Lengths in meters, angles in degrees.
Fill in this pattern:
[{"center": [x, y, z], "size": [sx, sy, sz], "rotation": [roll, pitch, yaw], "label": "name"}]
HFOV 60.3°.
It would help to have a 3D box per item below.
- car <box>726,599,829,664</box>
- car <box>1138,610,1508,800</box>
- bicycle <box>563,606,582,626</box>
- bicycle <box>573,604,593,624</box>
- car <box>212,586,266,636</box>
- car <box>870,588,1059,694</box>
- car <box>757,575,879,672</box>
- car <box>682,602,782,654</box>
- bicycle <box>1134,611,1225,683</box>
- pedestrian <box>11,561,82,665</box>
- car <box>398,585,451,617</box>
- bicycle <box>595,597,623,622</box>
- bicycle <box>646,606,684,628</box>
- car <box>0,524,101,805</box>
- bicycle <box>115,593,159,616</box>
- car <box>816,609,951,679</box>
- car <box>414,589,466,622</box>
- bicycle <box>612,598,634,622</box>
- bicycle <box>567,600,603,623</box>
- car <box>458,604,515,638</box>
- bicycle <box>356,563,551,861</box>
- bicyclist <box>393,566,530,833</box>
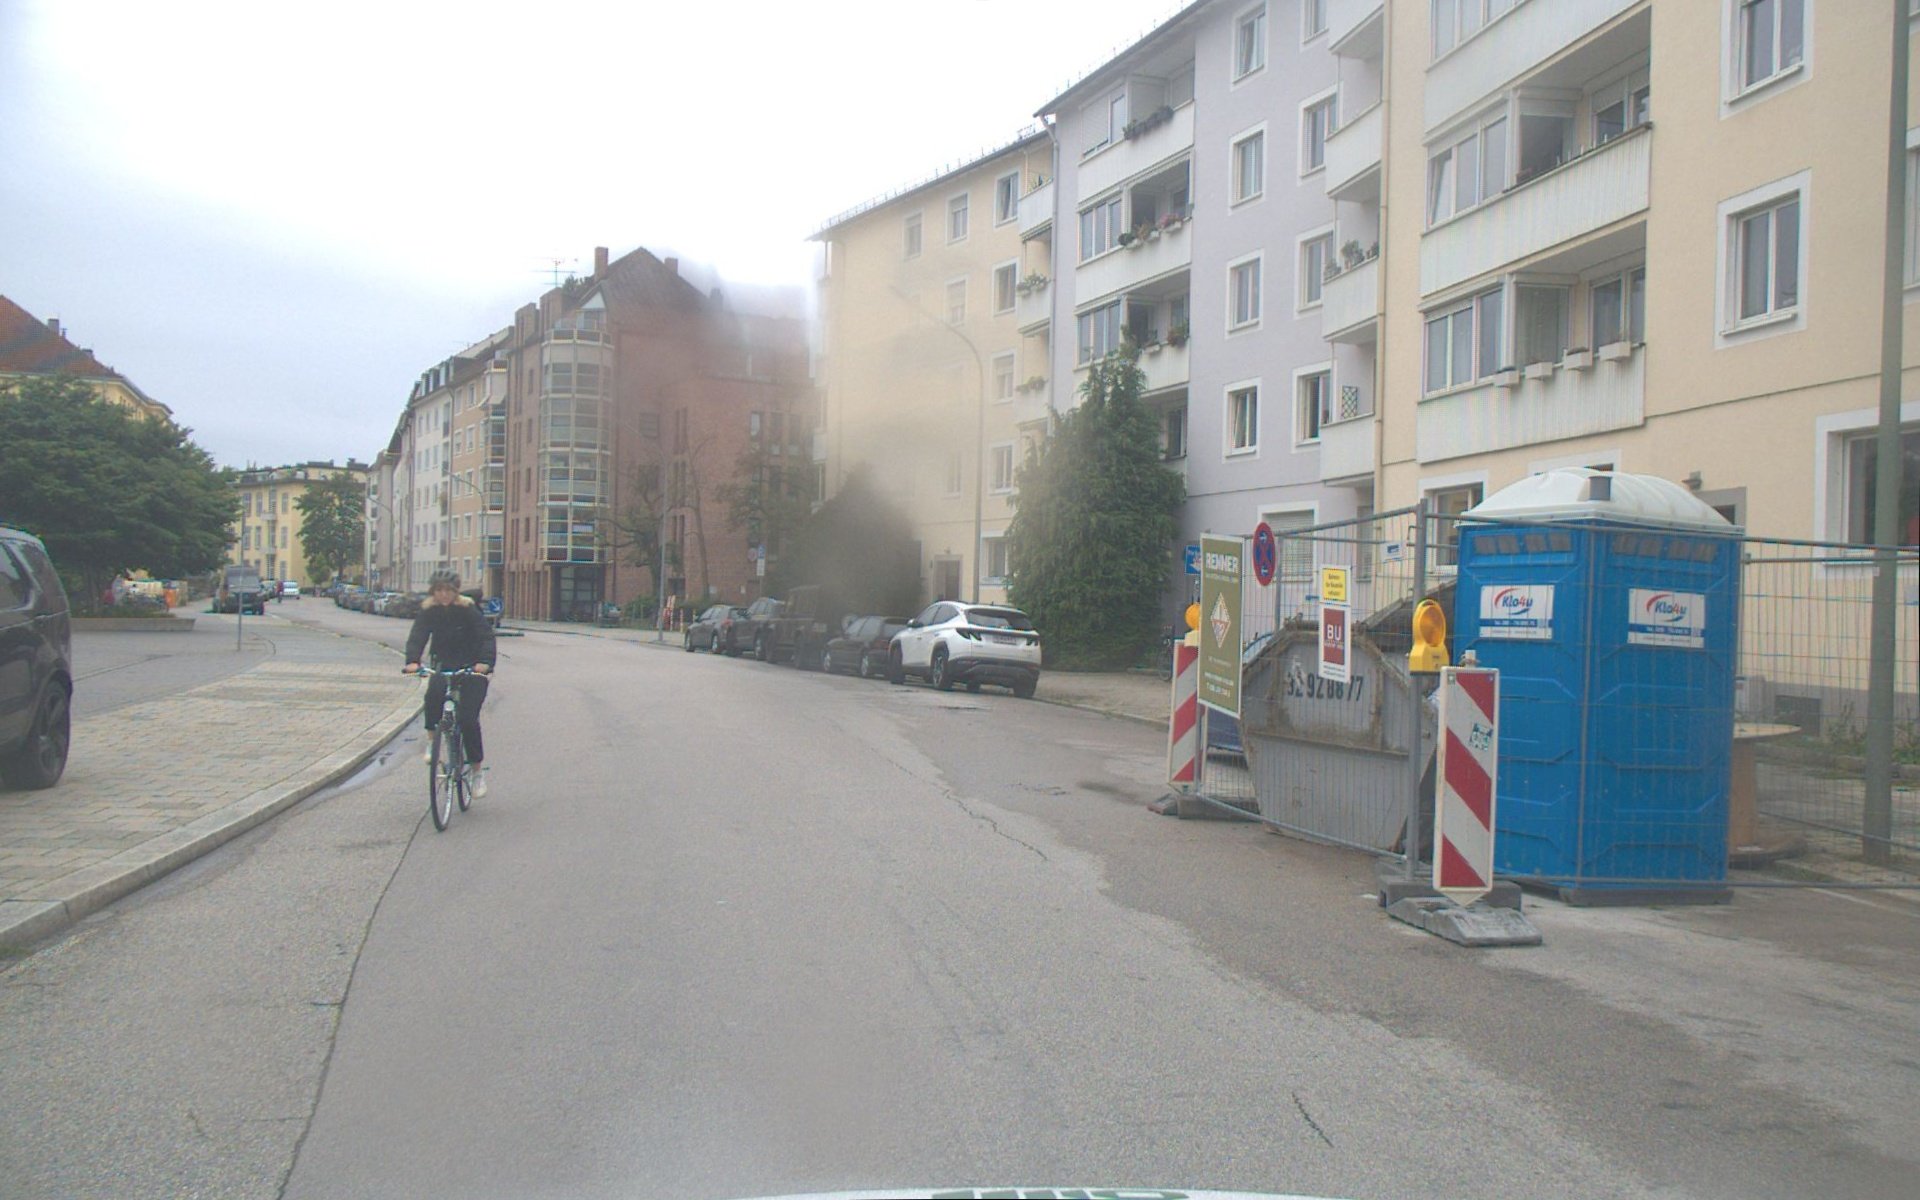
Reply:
[{"center": [-4.960, 0.807, 44.433], "size": [1.634, 1.593, 4.487], "rotation": [3, -1, -21], "label": "car"}, {"center": [3.352, 0.921, 16.333], "size": [1.798, 1.467, 4.615], "rotation": [3, 0, -12], "label": "car"}, {"center": [-21.457, 0.859, 91.527], "size": [0.481, 1.078, 1.976], "rotation": [3, -2, -29], "label": "bicycle"}, {"center": [-20.946, 0.776, 91.828], "size": [0.481, 1.078, 1.976], "rotation": [3, -1, -29], "label": "bicycle"}, {"center": [-41.819, 0.638, 95.813], "size": [2.395, 2.762, 5.896], "rotation": [0, 0, -28], "label": "car"}, {"center": [-0.023, 0.718, 31.130], "size": [1.997, 1.707, 4.584], "rotation": [3, 0, -21], "label": "car"}, {"center": [-3.503, 0.517, 40.120], "size": [1.722, 2.118, 4.488], "rotation": [3, 0, -21], "label": "car"}, {"center": [-6.859, 0.837, 49.476], "size": [1.733, 1.421, 4.009], "rotation": [3, -2, -27], "label": "car"}, {"center": [4.565, 0.950, 34.634], "size": [0.732, 1.391, 2.454], "rotation": [-2, 1, -23], "label": "bicycle"}, {"center": [-16.120, 0.225, 29.201], "size": [0.780, 1.770, 0.818], "rotation": [3, 0, -11], "label": "pedestrian"}, {"center": [-31.102, 0.064, 95.951], "size": [1.944, 1.630, 4.623], "rotation": [3, 0, -31], "label": "car"}, {"center": [-17.881, 0.485, 84.226], "size": [0.529, 1.270, 2.385], "rotation": [3, -2, -33], "label": "bicycle"}, {"center": [-13.896, 0.800, 77.937], "size": [1.680, 0.982, 0.541], "rotation": [3, 0, -27], "label": "bicycle"}, {"center": [-7.026, 0.396, 10.097], "size": [1.959, 1.803, 4.799], "rotation": [1, 0, -13], "label": "car"}, {"center": [-39.699, 0.216, 79.802], "size": [1.762, 1.051, 0.505], "rotation": [3, 0, -18], "label": "bicycle"}, {"center": [-1.704, 0.930, 35.836], "size": [1.637, 1.372, 3.776], "rotation": [3, -2, -24], "label": "car"}, {"center": [-28.917, 0.295, 91.870], "size": [1.811, 1.630, 4.222], "rotation": [3, 0, -31], "label": "car"}, {"center": [-17.023, 0.506, 83.568], "size": [0.411, 1.193, 1.362], "rotation": [3, 0, 17], "label": "bicycle"}, {"center": [-20.435, 0.641, 90.143], "size": [1.822, 1.167, 0.485], "rotation": [3, 0, -22], "label": "bicycle"}, {"center": [-23.648, 1.049, 82.534], "size": [1.902, 1.539, 4.353], "rotation": [3, -1, -27], "label": "car"}, {"center": [-3.385, 0.627, 11.361], "size": [0.780, 1.752, 3.109], "rotation": [-1, 1, -8], "label": "bicycle"}, {"center": [-3.410, 0.648, 11.389], "size": [0.734, 1.747, 1.030], "rotation": [1, 1, -8], "label": "bicyclist"}]
